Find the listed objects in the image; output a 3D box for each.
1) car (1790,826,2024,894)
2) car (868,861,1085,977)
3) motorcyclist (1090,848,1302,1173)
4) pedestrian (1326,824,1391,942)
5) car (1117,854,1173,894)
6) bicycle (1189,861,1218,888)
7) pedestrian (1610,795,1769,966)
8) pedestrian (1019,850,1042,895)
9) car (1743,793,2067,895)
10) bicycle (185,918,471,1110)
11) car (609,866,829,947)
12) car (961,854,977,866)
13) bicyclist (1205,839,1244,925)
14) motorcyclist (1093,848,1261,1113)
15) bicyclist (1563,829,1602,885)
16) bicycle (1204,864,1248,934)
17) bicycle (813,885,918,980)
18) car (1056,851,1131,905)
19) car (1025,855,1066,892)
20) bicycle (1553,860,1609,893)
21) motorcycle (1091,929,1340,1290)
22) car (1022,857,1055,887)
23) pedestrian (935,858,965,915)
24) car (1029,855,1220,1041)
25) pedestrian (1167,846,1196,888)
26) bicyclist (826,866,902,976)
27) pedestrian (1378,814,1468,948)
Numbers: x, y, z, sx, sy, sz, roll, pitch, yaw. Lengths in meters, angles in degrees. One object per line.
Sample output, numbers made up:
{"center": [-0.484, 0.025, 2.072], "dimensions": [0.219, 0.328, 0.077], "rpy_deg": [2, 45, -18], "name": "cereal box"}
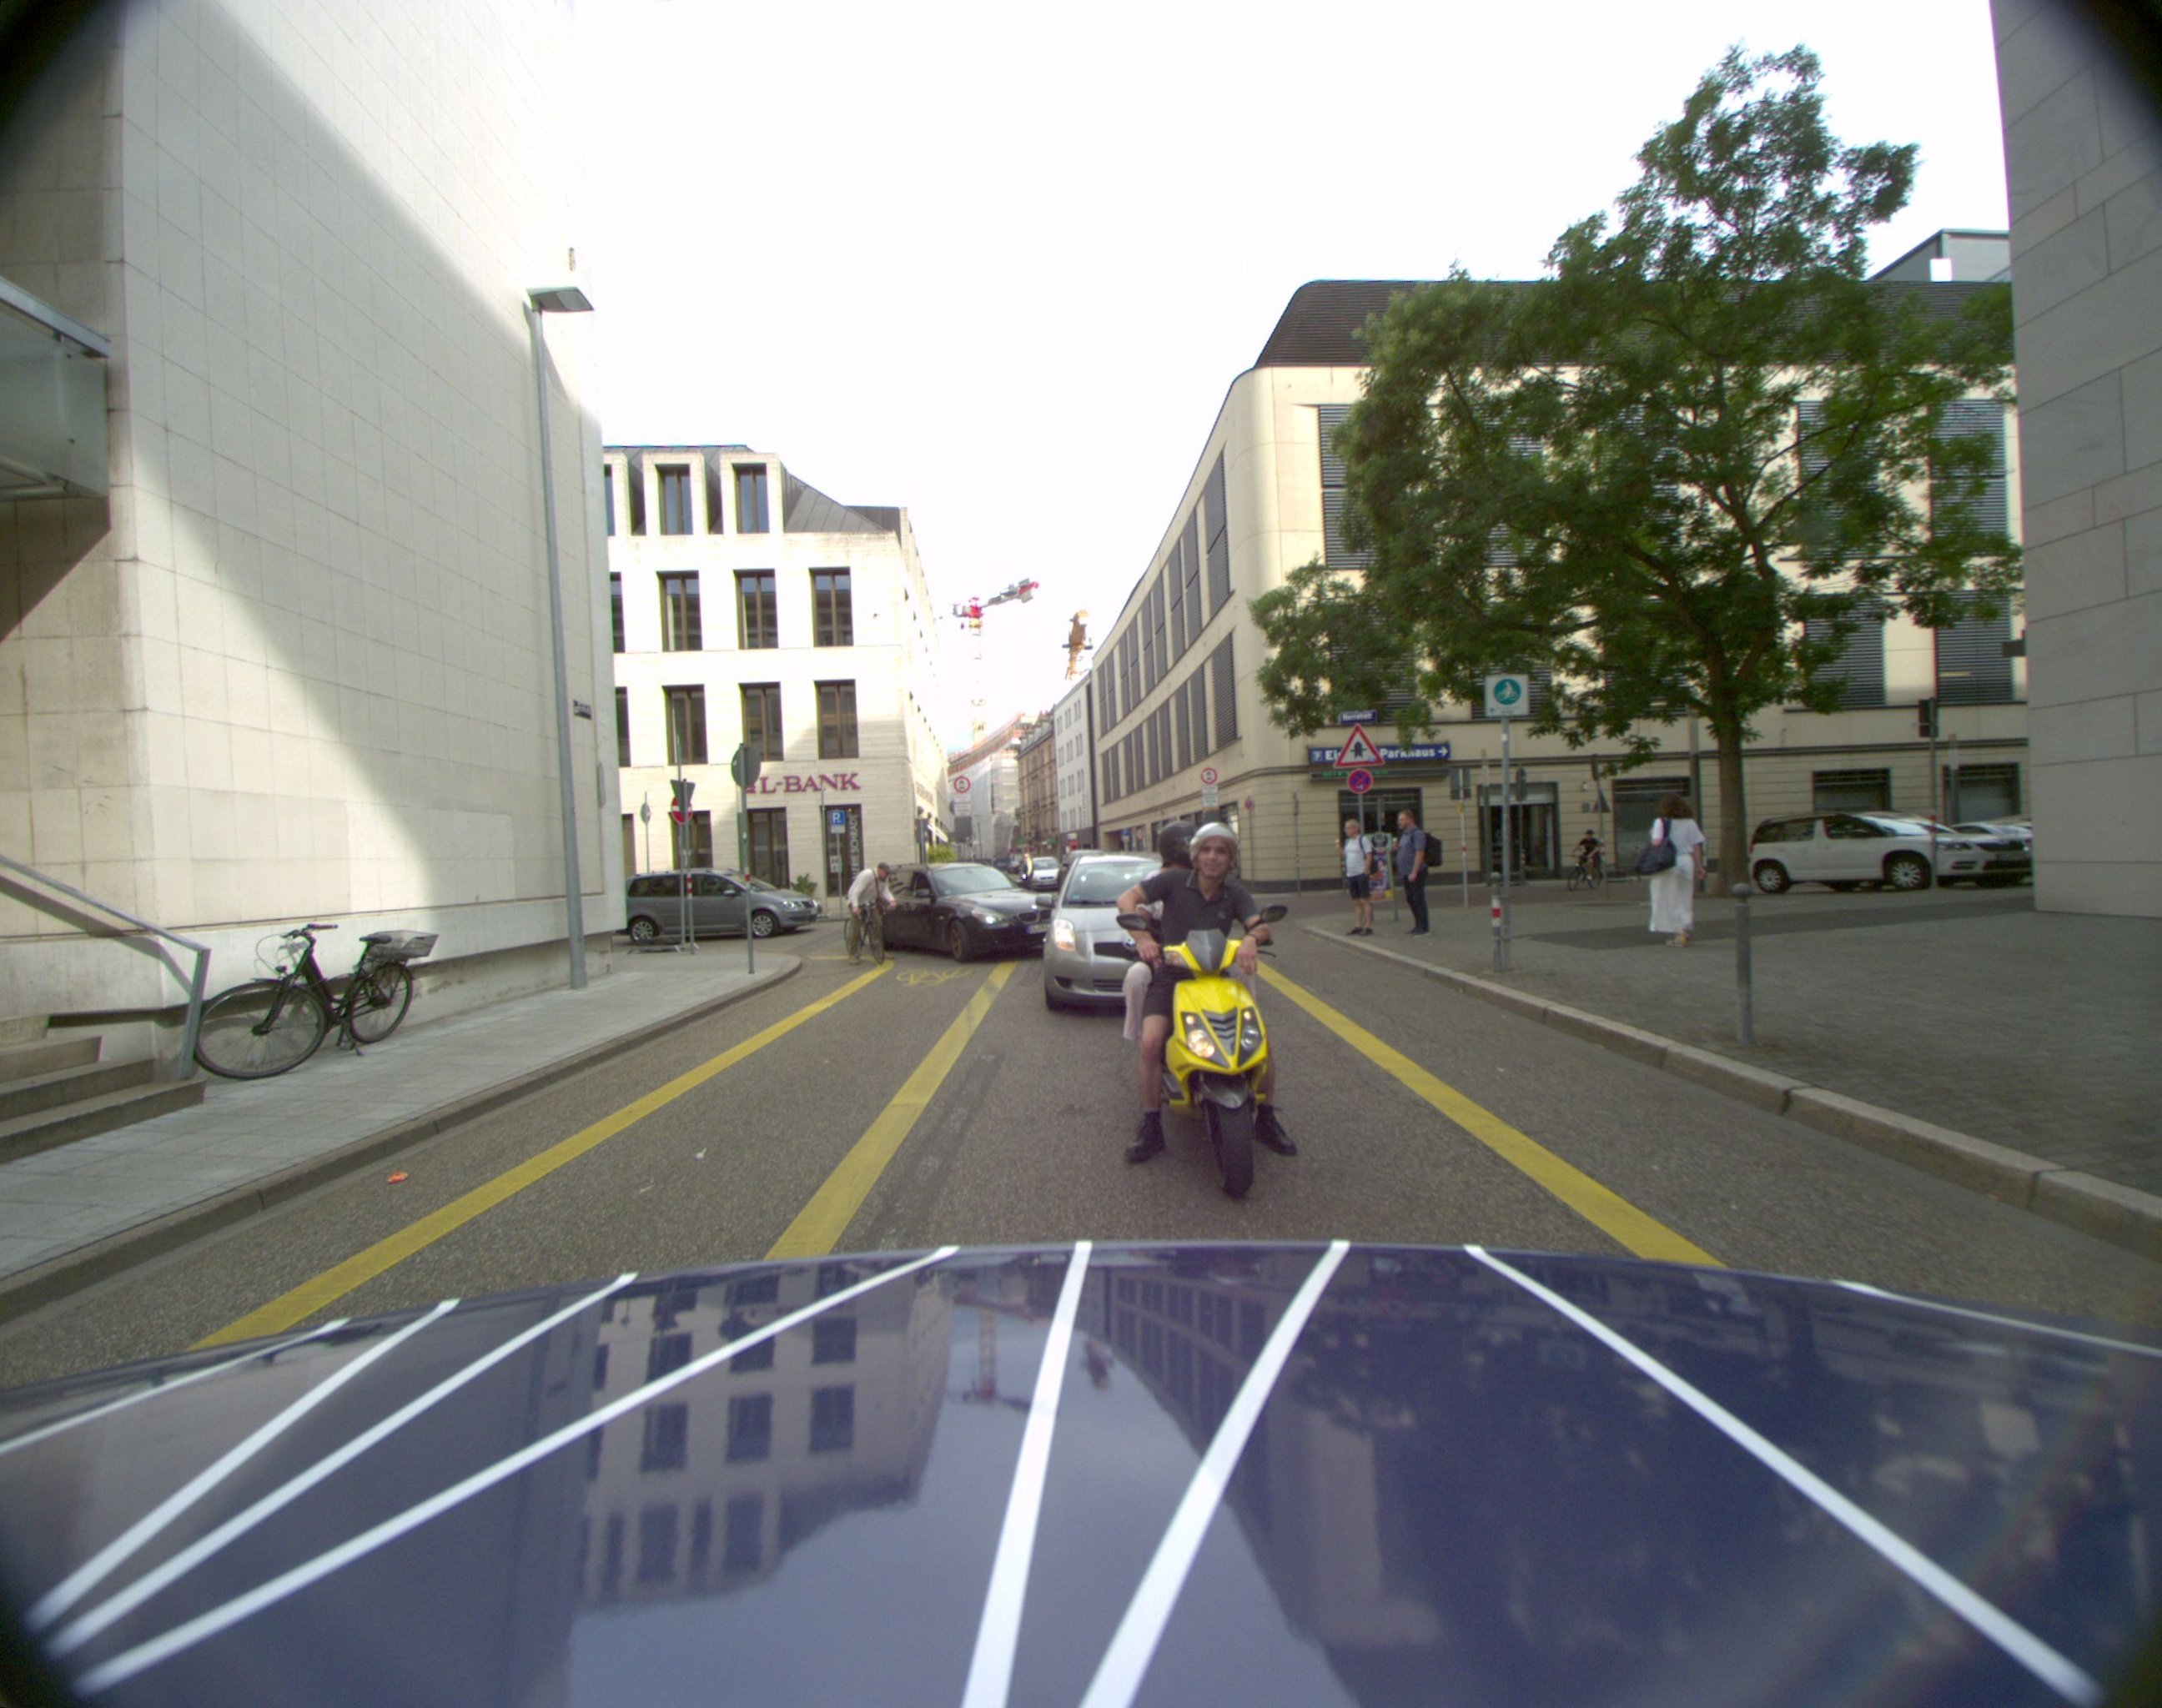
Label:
{"center": [22.001, 0.153, 20.348], "dimensions": [4.364, 1.572, 1.814], "rpy_deg": [-2, 1, -2], "name": "car"}
{"center": [-1.817, 0.925, 12.228], "dimensions": [1.720, 1.482, 3.755], "rpy_deg": [-3, 1, -38], "name": "car"}
{"center": [0.522, 0.700, 3.918], "dimensions": [0.924, 1.445, 1.065], "rpy_deg": [-1, 0, 1], "name": "motorcyclist"}
{"center": [4.303, 0.436, 11.802], "dimensions": [0.644, 1.755, 0.653], "rpy_deg": [-2, 1, -11], "name": "pedestrian"}
{"center": [2.717, 0.808, 33.127], "dimensions": [1.563, 1.547, 4.100], "rpy_deg": [-3, 1, -7], "name": "car"}
{"center": [5.354, 0.880, 33.283], "dimensions": [0.692, 1.038, 2.543], "rpy_deg": [-2, 1, -4], "name": "bicycle"}
{"center": [6.642, 0.273, 8.349], "dimensions": [0.879, 1.699, 0.910], "rpy_deg": [-6, 1, 0], "name": "pedestrian"}
{"center": [-2.113, 0.772, 31.917], "dimensions": [0.861, 1.820, 0.774], "rpy_deg": [-2, 1, 0], "name": "pedestrian"}
{"center": [15.910, -0.073, 15.056], "dimensions": [1.899, 1.682, 3.964], "rpy_deg": [-2, -3, -3], "name": "car"}
{"center": [-6.040, 1.204, 6.270], "dimensions": [0.590, 1.160, 1.814], "rpy_deg": [-2, 1, -4], "name": "bicycle"}
{"center": [-8.296, 1.168, 17.727], "dimensions": [4.193, 1.581, 1.814], "rpy_deg": [-2, 1, -2], "name": "car"}
{"center": [-14.752, 0.758, 100.087], "dimensions": [1.590, 1.477, 3.994], "rpy_deg": [-2, 1, -15], "name": "car"}
{"center": [2.841, 0.528, 15.074], "dimensions": [0.644, 1.644, 0.940], "rpy_deg": [0, 1, 4], "name": "bicyclist"}
{"center": [0.530, 0.697, 4.530], "dimensions": [0.903, 1.445, 0.742], "rpy_deg": [-1, 0, 1], "name": "motorcyclist"}
{"center": [14.871, 0.098, 22.524], "dimensions": [0.644, 1.609, 0.621], "rpy_deg": [-5, 0, -29], "name": "bicyclist"}
{"center": [2.847, 0.848, 15.086], "dimensions": [0.648, 1.233, 1.953], "rpy_deg": [0, 1, 4], "name": "bicycle"}
{"center": [-3.472, 1.154, 12.012], "dimensions": [0.872, 1.188, 2.857], "rpy_deg": [-3, 1, -30], "name": "bicycle"}
{"center": [0.319, 0.691, 24.368], "dimensions": [1.710, 1.482, 4.100], "rpy_deg": [-3, 1, -8], "name": "car"}
{"center": [-1.739, 0.891, 35.936], "dimensions": [1.563, 1.547, 4.100], "rpy_deg": [-3, 1, -7], "name": "car"}
{"center": [14.787, 0.666, 22.454], "dimensions": [1.727, 0.829, 0.600], "rpy_deg": [-4, -2, -29], "name": "bicycle"}
{"center": [0.528, 1.074, 3.938], "dimensions": [0.929, 1.158, 2.127], "rpy_deg": [-1, 0, 1], "name": "motorcycle"}
{"center": [-2.409, 0.980, 42.385], "dimensions": [1.589, 1.477, 3.997], "rpy_deg": [-2, 1, -6], "name": "car"}
{"center": [-4.376, 1.065, 25.363], "dimensions": [0.774, 1.820, 0.860], "rpy_deg": [-3, 1, -20], "name": "pedestrian"}
{"center": [0.432, 0.810, 8.386], "dimensions": [1.562, 1.482, 3.784], "rpy_deg": [-3, 1, 2], "name": "car"}
{"center": [4.513, 0.559, 34.044], "dimensions": [0.892, 1.755, 1.060], "rpy_deg": [-6, 1, -6], "name": "pedestrian"}
{"center": [-3.411, 1.008, 11.894], "dimensions": [0.894, 1.585, 0.875], "rpy_deg": [-3, 1, -30], "name": "bicyclist"}
{"center": [4.918, 0.374, 10.963], "dimensions": [0.745, 1.804, 0.756], "rpy_deg": [-6, 1, -11], "name": "pedestrian"}
